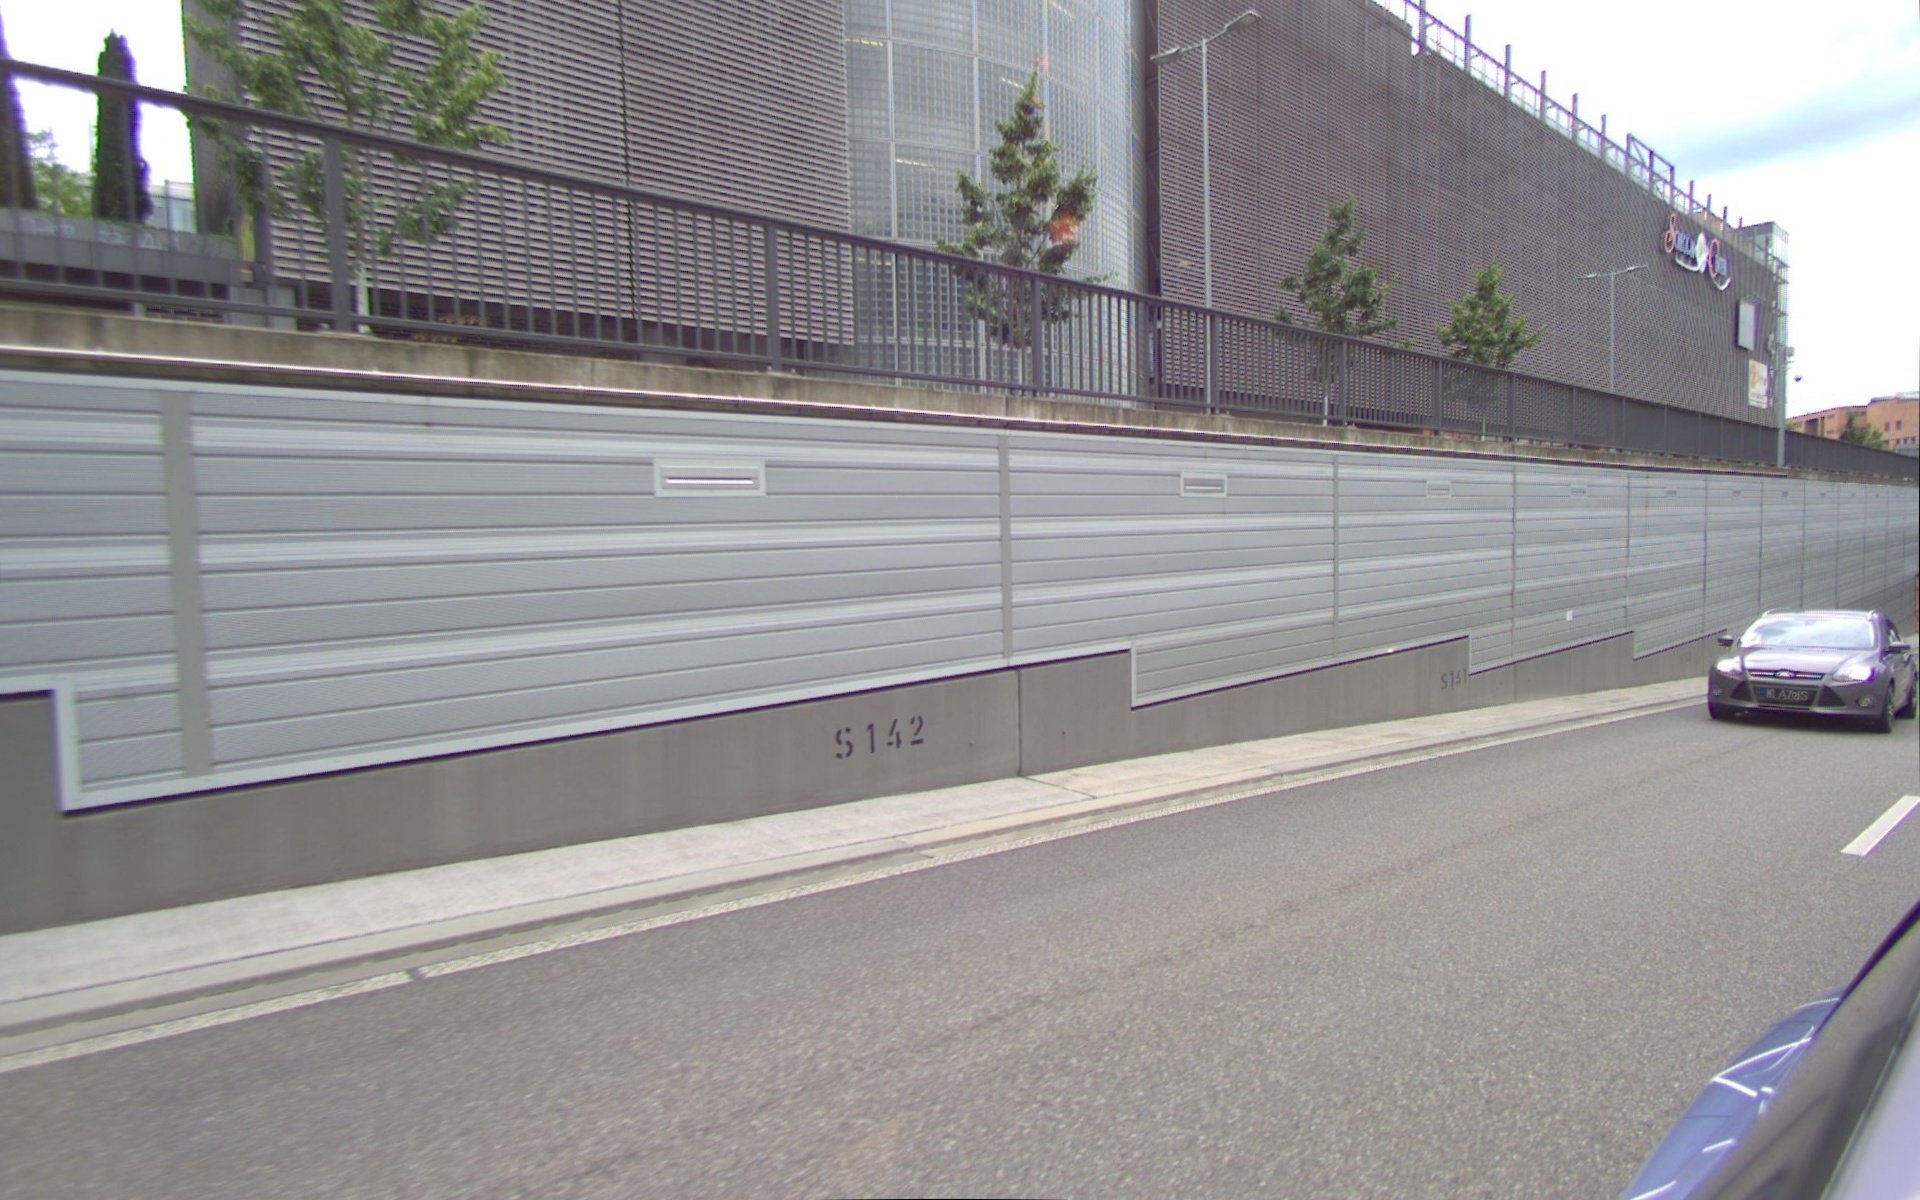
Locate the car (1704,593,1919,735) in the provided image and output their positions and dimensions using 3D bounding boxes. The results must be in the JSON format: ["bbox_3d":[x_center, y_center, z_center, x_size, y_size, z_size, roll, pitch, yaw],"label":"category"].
[{"bbox_3d":[11.588,0.712,13.502,4.193,1.518,1.751,-2,2,-40],"label":"car"}]
